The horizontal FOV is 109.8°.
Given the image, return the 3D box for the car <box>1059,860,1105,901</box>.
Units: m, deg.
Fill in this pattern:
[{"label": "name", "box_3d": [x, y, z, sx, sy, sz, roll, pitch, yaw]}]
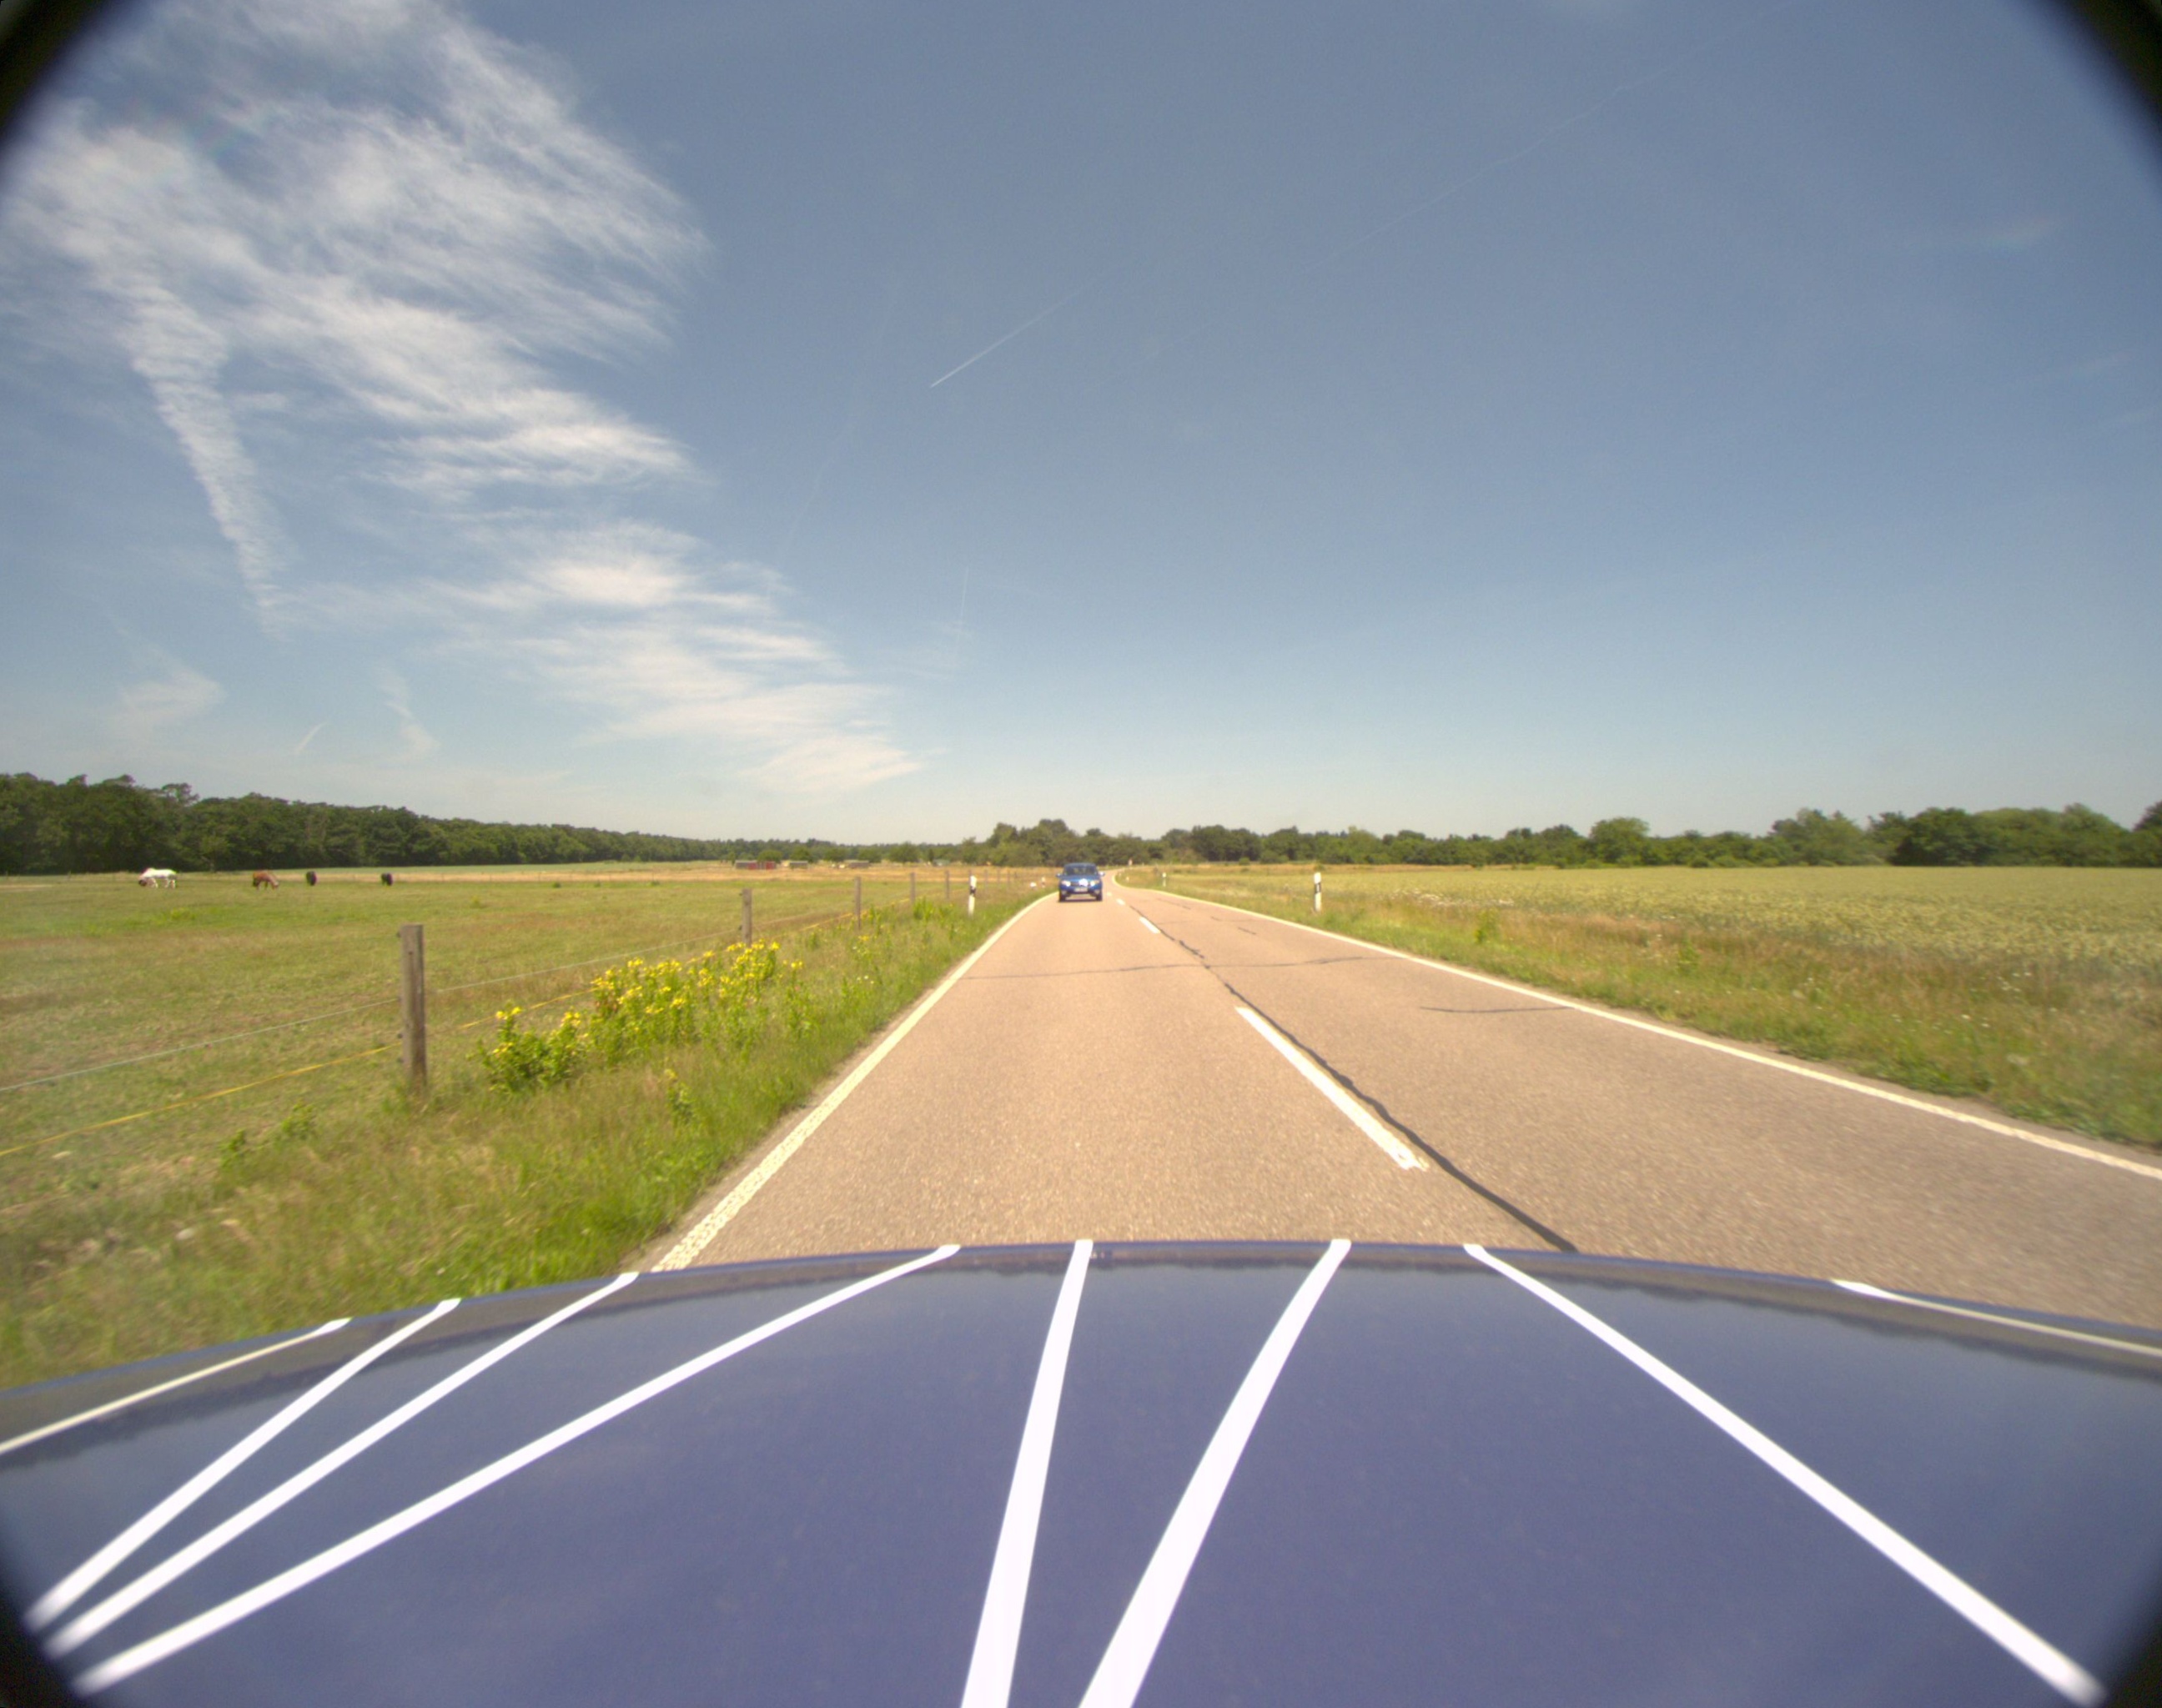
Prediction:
[{"label": "car", "box_3d": [0.039, 1.088, 31.674, 1.734, 1.571, 4.001, -2, -2, 0]}]
